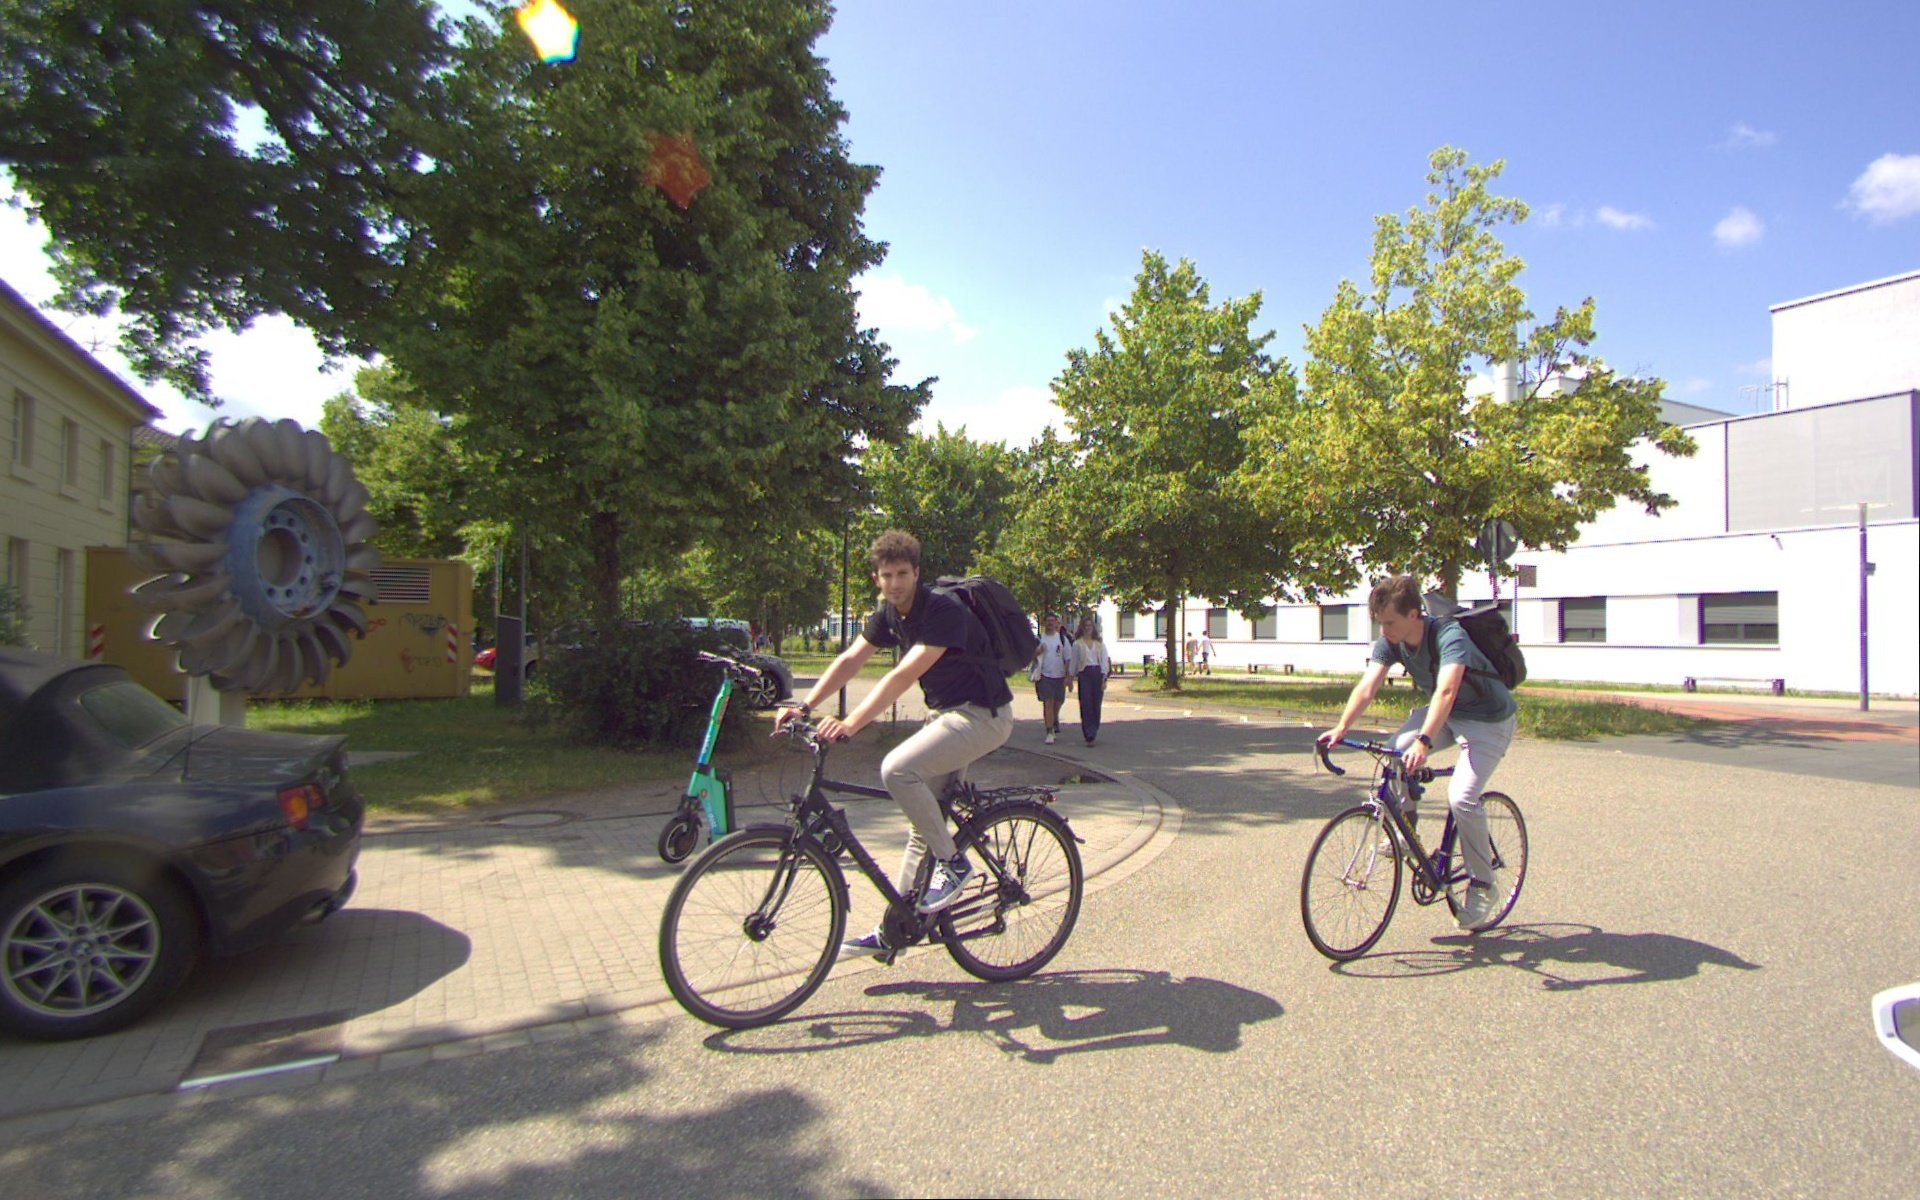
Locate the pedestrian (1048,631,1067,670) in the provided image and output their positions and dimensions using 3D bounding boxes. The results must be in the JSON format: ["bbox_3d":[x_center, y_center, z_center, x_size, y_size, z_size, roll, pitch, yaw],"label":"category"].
[{"bbox_3d":[4.682,2.420,48.190,0.673,1.862,0.760,1,-1,-12],"label":"pedestrian"}]

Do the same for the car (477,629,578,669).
[{"bbox_3d":[-19.825,2.263,46.073,4.075,1.688,1.799,3,-3,-29],"label":"car"}]

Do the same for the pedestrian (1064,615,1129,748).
[{"bbox_3d":[1.855,1.092,13.746,0.610,1.739,1.004,0,-2,-9],"label":"pedestrian"}]

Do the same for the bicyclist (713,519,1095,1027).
[{"bbox_3d":[-0.197,0.575,3.835,1.313,1.627,0.625,1,-2,-30],"label":"bicyclist"}]

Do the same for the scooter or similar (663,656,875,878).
[{"bbox_3d":[-1.159,0.962,6.109,1.187,1.232,0.468,1,-2,-23],"label":"scooter or similar"}]

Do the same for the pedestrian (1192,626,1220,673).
[{"bbox_3d":[9.997,2.009,40.809,0.814,1.908,0.759,1,-2,-25],"label":"pedestrian"}]

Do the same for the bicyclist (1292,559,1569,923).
[{"bbox_3d":[2.184,0.591,4.646,1.219,1.472,0.583,1,-2,-31],"label":"bicyclist"}]

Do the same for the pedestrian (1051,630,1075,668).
[{"bbox_3d":[4.730,2.250,46.228,0.742,1.720,0.879,2,-2,-32],"label":"pedestrian"}]

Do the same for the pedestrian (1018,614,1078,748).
[{"bbox_3d":[1.225,1.121,14.137,0.712,1.810,0.900,1,-2,-3],"label":"pedestrian"}]

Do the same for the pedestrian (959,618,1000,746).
[{"bbox_3d":[0.284,1.128,14.154,0.547,1.739,0.973,0,-2,2],"label":"pedestrian"}]

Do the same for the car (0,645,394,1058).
[{"bbox_3d":[-4.226,0.827,3.615,3.715,1.312,1.690,1,-2,-28],"label":"car"}]

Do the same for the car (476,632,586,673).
[{"bbox_3d":[-17.737,2.174,41.554,4.070,1.562,1.801,3,-3,-26],"label":"car"}]

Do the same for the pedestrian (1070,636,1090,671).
[{"bbox_3d":[5.736,2.560,48.058,0.786,1.675,0.730,1,-1,-12],"label":"pedestrian"}]

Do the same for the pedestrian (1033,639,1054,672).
[{"bbox_3d":[4.139,2.754,49.941,0.688,1.602,0.848,1,-2,-31],"label":"pedestrian"}]

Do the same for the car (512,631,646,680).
[{"bbox_3d":[-13.114,1.921,34.603,4.075,1.562,1.799,3,-3,-29],"label":"car"}]

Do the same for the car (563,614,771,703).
[{"bbox_3d":[-6.432,1.301,22.117,4.075,1.809,1.799,3,-3,-29],"label":"car"}]

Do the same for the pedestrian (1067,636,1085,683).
[{"bbox_3d":[4.603,2.355,39.907,0.623,1.810,0.873,-1,-2,12],"label":"pedestrian"}]

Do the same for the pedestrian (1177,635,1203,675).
[{"bbox_3d":[9.279,2.222,40.508,0.748,1.583,0.726,1,-2,-25],"label":"pedestrian"}]

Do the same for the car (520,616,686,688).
[{"bbox_3d":[-10.665,1.584,30.018,4.467,1.985,1.801,3,-3,-26],"label":"car"}]

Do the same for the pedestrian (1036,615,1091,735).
[{"bbox_3d":[1.601,1.142,15.603,0.559,1.810,0.870,0,-2,-16],"label":"pedestrian"}]

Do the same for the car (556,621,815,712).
[{"bbox_3d":[-5.366,1.319,19.816,4.594,1.601,1.886,3,-3,-29],"label":"car"}]

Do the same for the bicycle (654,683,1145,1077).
[{"bbox_3d":[-0.182,0.924,3.838,1.791,1.156,0.622,2,-2,-30],"label":"bicycle"}]

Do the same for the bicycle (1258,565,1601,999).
[{"bbox_3d":[2.213,0.743,4.668,1.739,1.702,0.584,2,-2,-32],"label":"bicycle"}]
